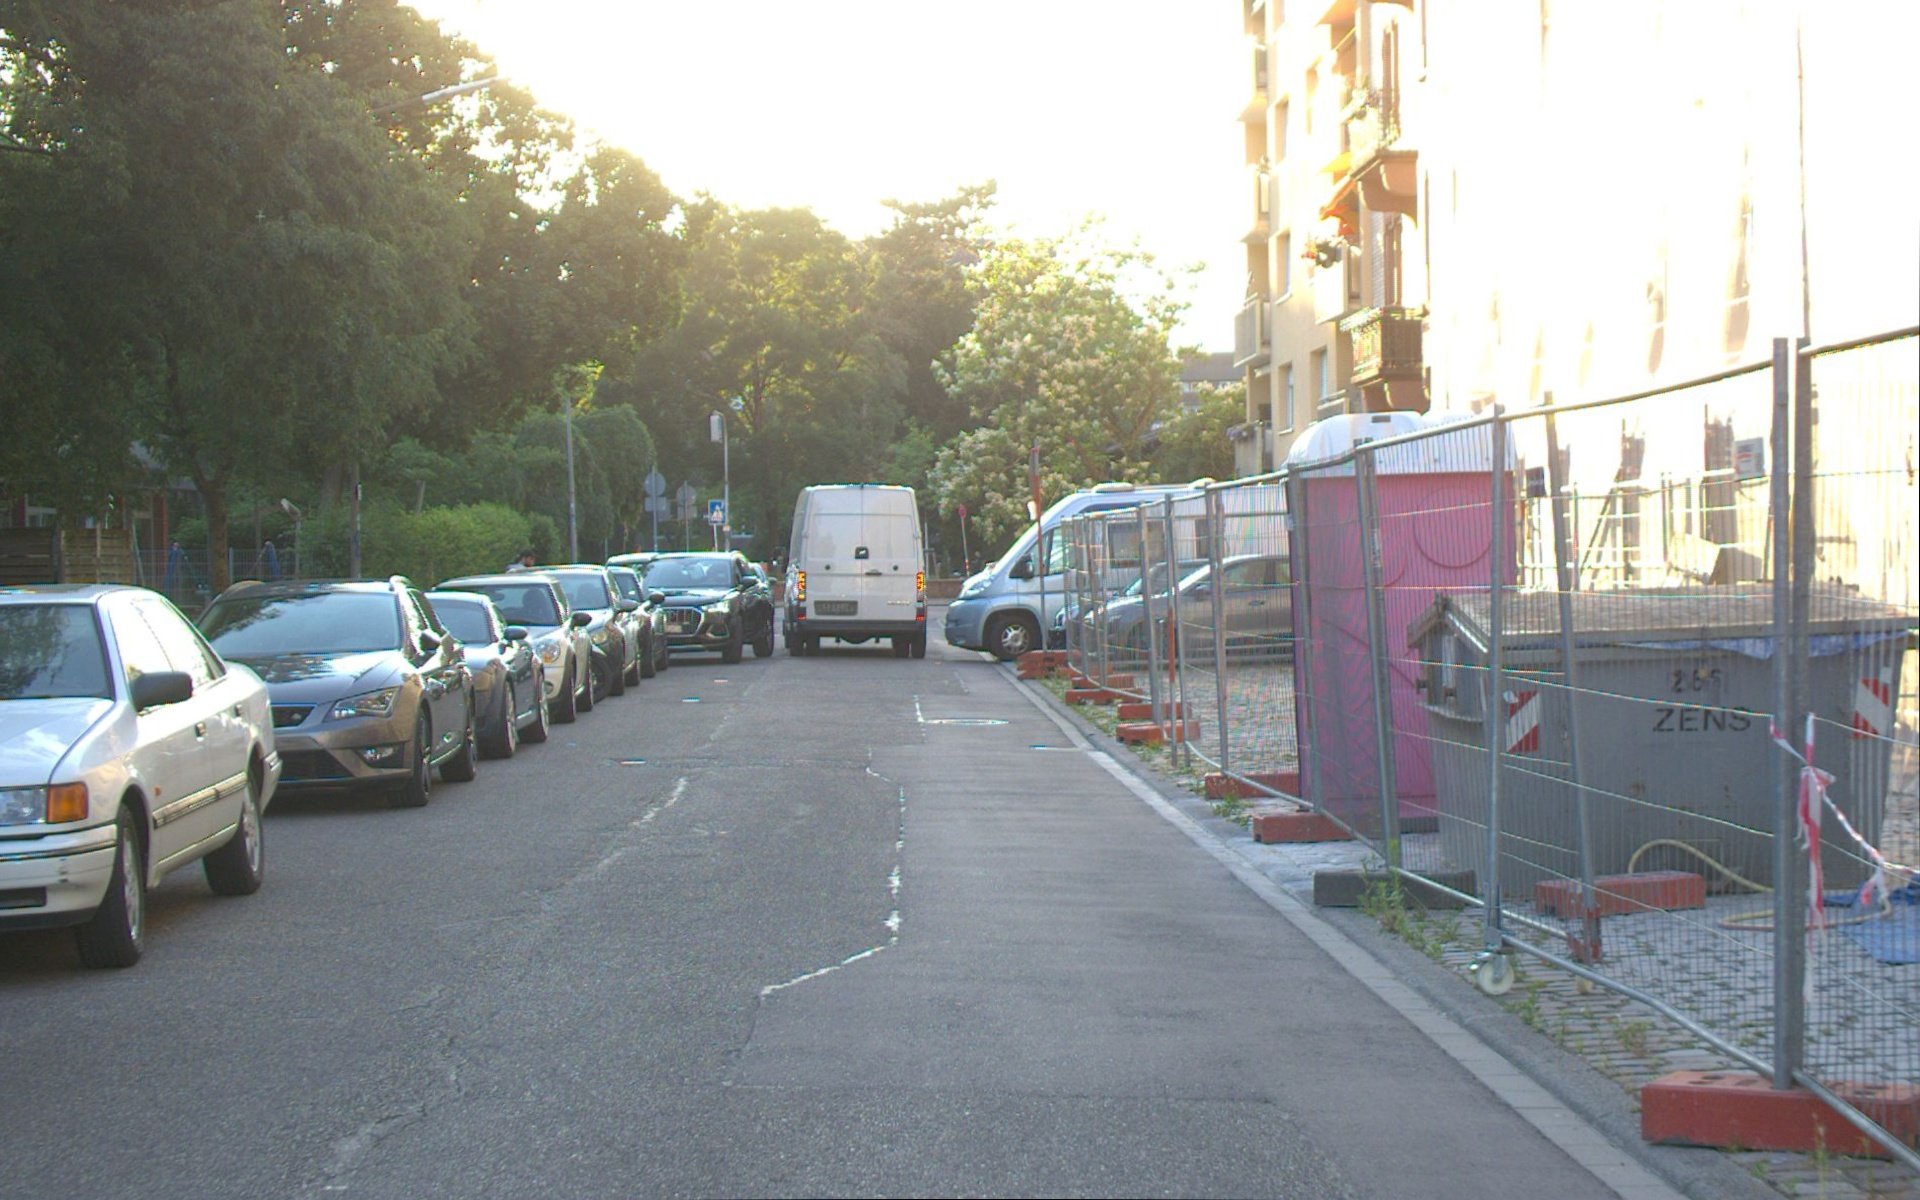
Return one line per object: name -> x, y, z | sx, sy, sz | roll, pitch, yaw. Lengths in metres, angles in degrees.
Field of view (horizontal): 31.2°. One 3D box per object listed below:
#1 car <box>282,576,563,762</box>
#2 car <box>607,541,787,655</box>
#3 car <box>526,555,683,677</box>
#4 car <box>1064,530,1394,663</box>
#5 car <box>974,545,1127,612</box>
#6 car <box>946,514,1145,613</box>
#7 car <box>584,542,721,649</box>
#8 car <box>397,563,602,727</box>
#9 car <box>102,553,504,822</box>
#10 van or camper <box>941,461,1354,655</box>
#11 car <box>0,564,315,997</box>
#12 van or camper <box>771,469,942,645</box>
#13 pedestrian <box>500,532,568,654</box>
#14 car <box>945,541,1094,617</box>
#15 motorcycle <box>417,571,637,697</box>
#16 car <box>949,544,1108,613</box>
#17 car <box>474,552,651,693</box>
car -> -4.286, 0.506, 27.951 | 1.659, 1.309, 4.155 | -2, 1, -1
car -> -3.777, -0.058, 50.075 | 1.804, 1.564, 4.564 | -1, 1, 6
car -> -4.640, 0.181, 45.287 | 1.637, 1.473, 3.993 | -2, 1, 0
car -> 3.525, -0.064, 45.516 | 3.986, 1.510, 2.020 | -3, 1, -6
car -> 2.379, -0.580, 91.357 | 3.987, 1.722, 2.000 | 1, 1, -1
car -> 1.963, -0.854, 80.178 | 4.495, 2.223, 2.032 | 1, 1, -2
car -> -5.039, -0.101, 56.786 | 1.783, 1.625, 4.000 | -2, 1, 1
car -> -4.460, 0.393, 33.707 | 1.601, 1.426, 3.804 | -3, 1, -3
car -> -4.189, 0.481, 22.663 | 1.859, 1.532, 4.759 | -2, 1, -2
van or camper -> 2.730, -0.621, 51.135 | 5.928, 2.760, 2.110 | 1, 1, -2
car -> -3.932, 0.630, 14.082 | 1.782, 1.440, 4.749 | -3, 1, -2
van or camper -> -1.587, -0.678, 53.638 | 2.453, 2.538, 6.083 | 1, 1, -1
pedestrian -> -6.436, -0.108, 51.959 | 0.937, 1.824, 0.787 | 1, 0, -3
car -> 1.616, -0.591, 93.673 | 3.987, 2.007, 2.000 | 1, 1, 0
motorcycle -> -4.640, 0.352, 36.920 | 2.165, 1.299, 0.879 | 1, 1, 13
car -> 1.741, -0.552, 88.307 | 3.987, 1.722, 2.000 | 1, 1, -1
car -> -4.581, 0.220, 40.114 | 1.715, 1.491, 4.361 | -2, 1, -3
